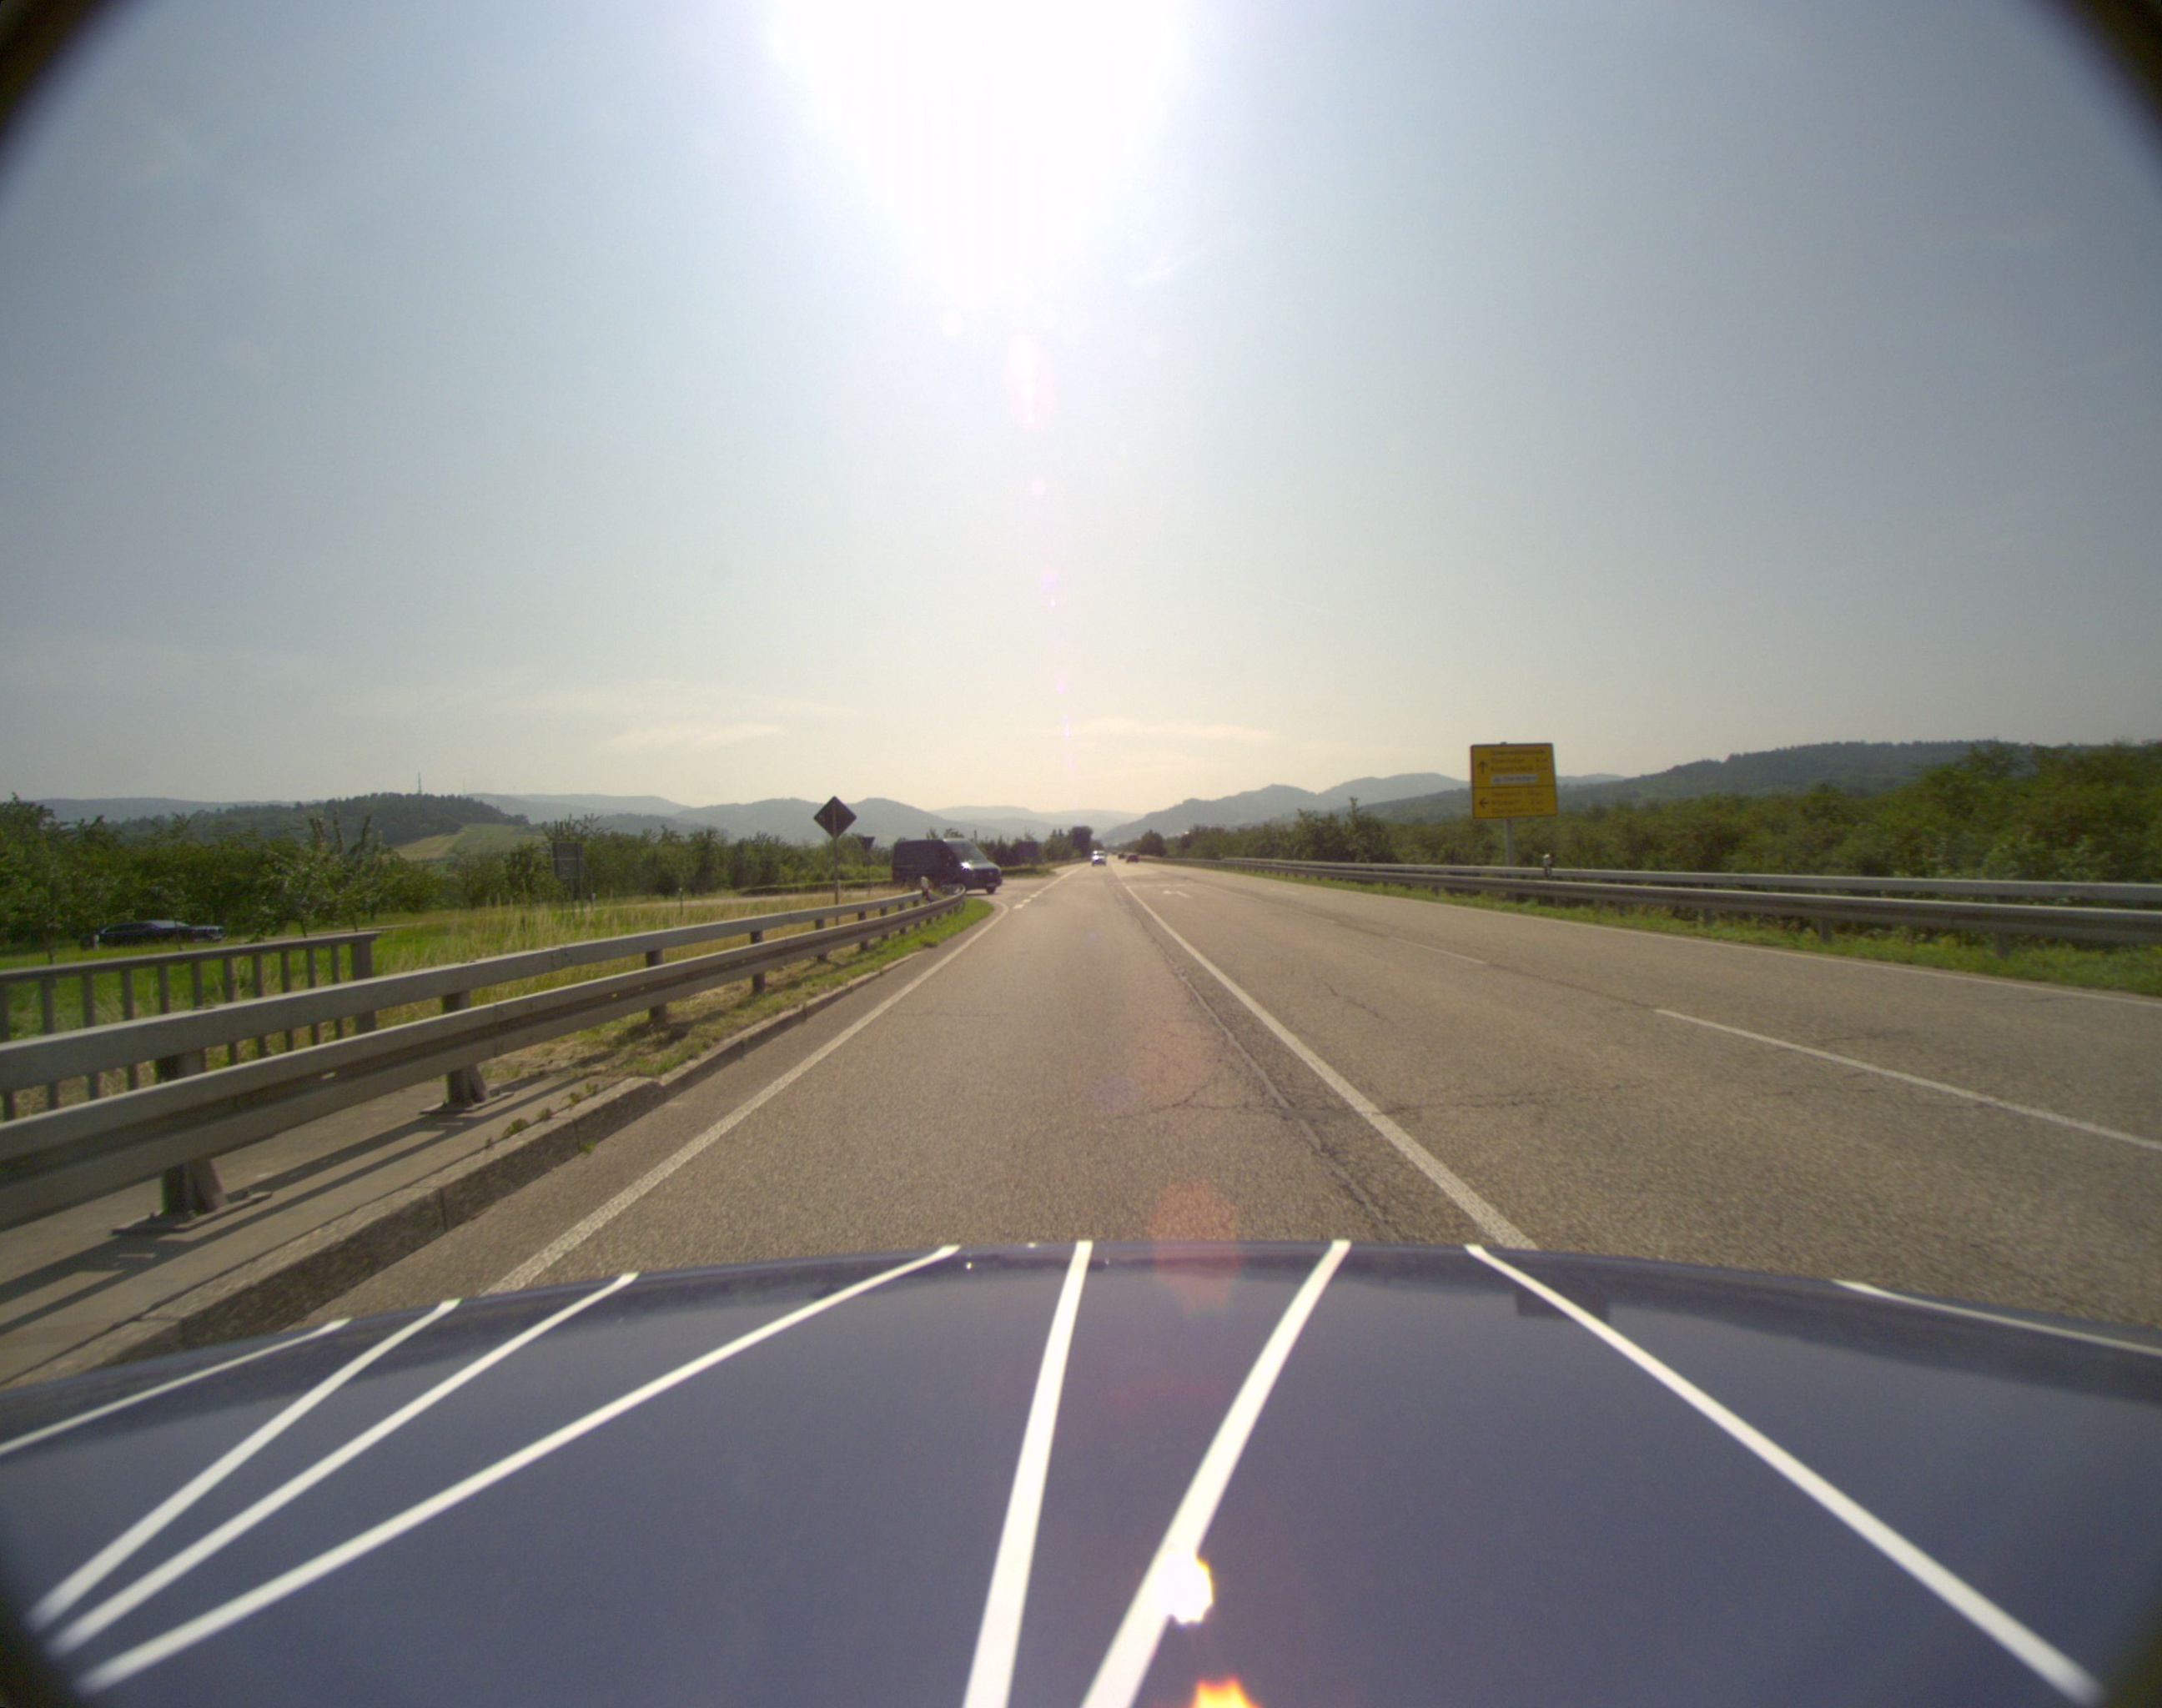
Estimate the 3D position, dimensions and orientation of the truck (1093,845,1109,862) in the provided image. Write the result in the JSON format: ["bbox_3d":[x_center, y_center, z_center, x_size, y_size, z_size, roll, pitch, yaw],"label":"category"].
[{"bbox_3d":[2.769,-0.068,103.508,2.031,2.233,4.764,-2,1,1],"label":"truck"}]

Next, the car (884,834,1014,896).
[{"bbox_3d":[-6.141,0.543,34.853,6.295,2.560,2.066,-3,1,39],"label":"car"}]

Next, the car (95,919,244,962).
[{"bbox_3d":[-47.167,4.462,39.449,4.675,1.687,1.997,-2,3,-9],"label":"car"}]

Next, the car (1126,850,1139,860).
[{"bbox_3d":[8.276,0.085,122.468,1.820,1.441,4.494,-2,1,1],"label":"car"}]

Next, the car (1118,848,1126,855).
[{"bbox_3d":[10.636,-0.631,196.628,1.808,1.628,4.809,-2,1,1],"label":"car"}]
